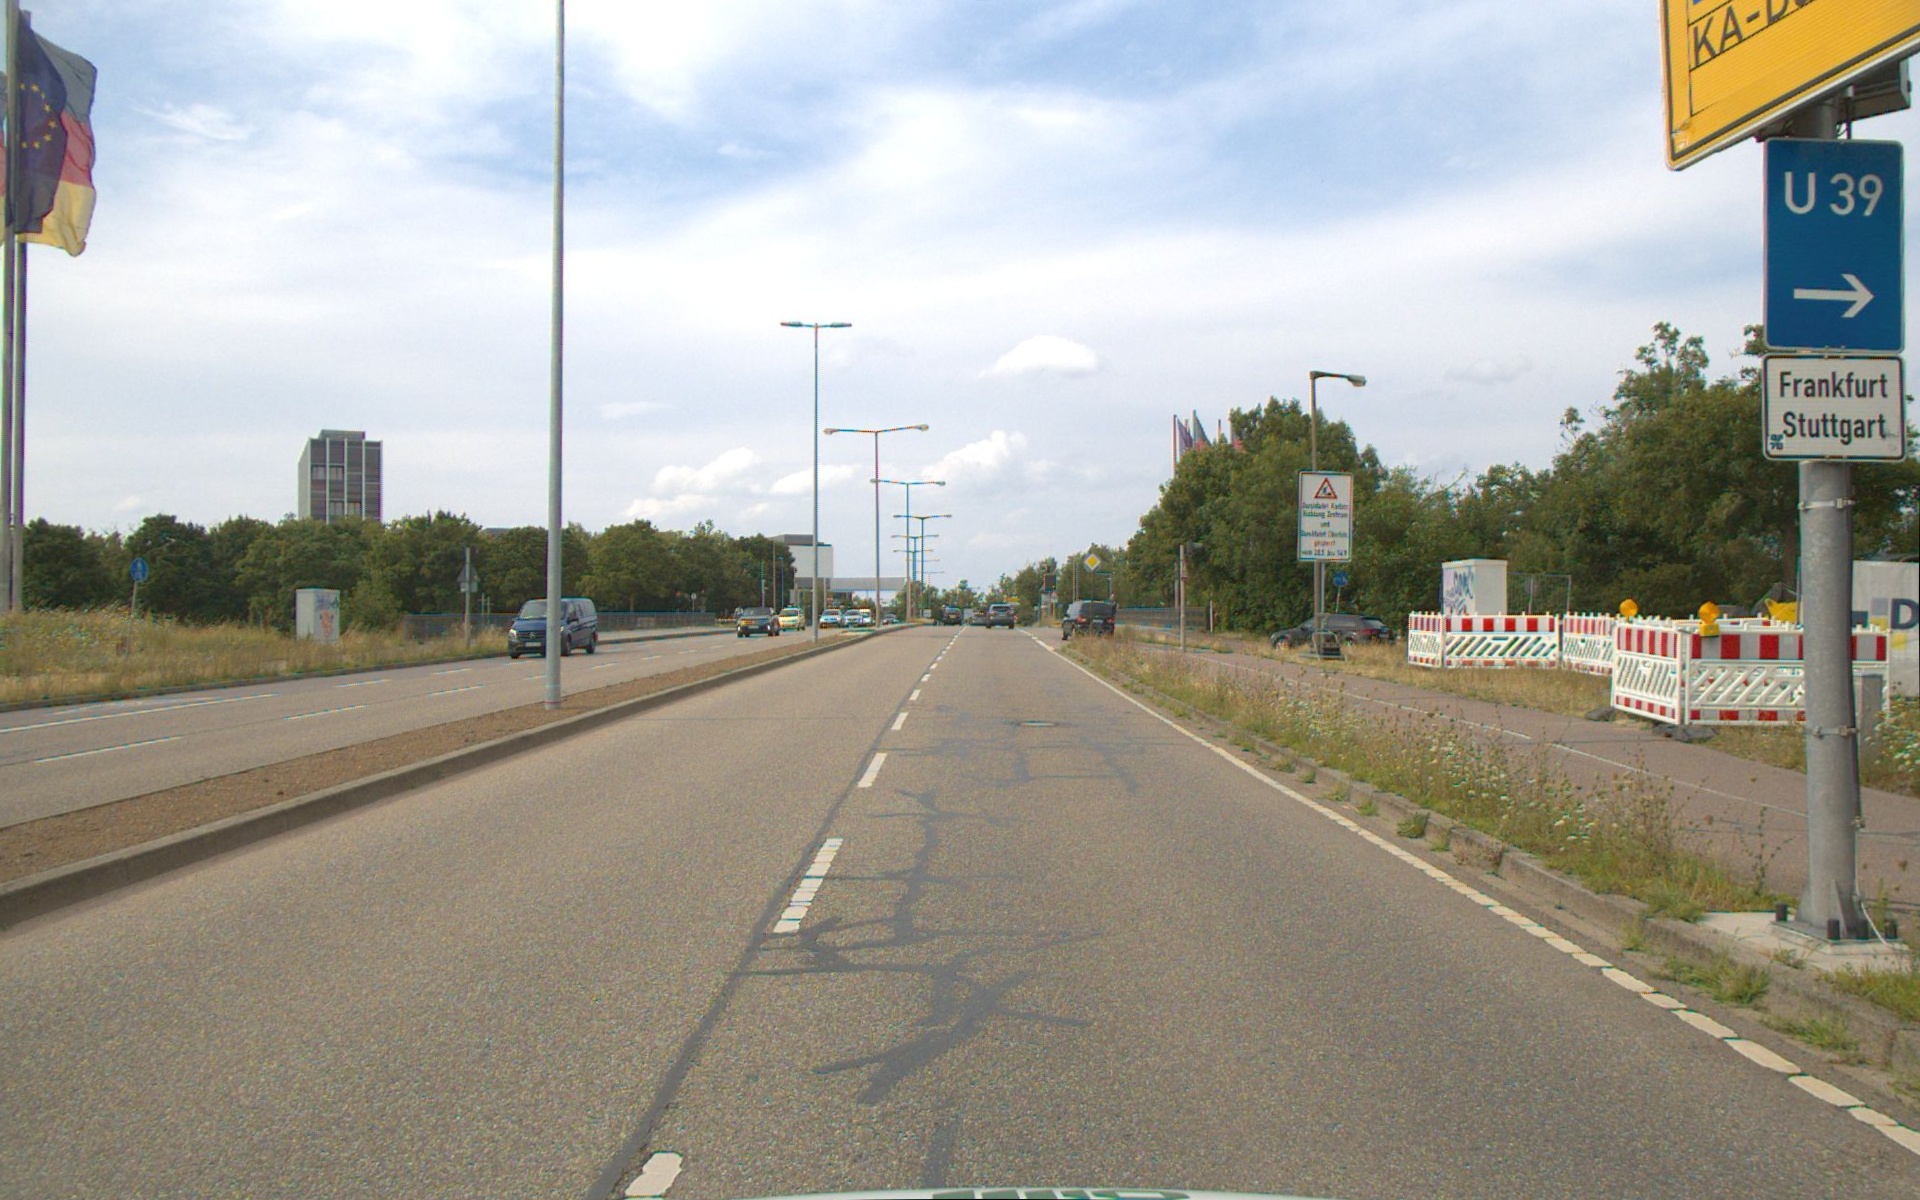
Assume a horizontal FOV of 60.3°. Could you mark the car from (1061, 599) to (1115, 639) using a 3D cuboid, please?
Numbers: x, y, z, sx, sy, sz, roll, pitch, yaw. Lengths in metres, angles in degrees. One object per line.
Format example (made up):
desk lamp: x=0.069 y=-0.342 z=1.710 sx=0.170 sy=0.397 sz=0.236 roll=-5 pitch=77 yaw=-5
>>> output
car: x=5.483 y=0.836 z=71.193 sx=1.696 sy=1.682 sz=4.111 roll=1 pitch=-1 yaw=-4

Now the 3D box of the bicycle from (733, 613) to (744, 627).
bicycle: x=-17.552 y=1.603 z=131.171 sx=0.692 sy=1.068 sz=2.059 roll=0 pitch=-1 yaw=-2

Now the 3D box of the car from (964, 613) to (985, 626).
car: x=1.679 y=2.257 z=192.069 sx=1.698 sy=1.553 sz=4.106 roll=1 pitch=-1 yaw=-9

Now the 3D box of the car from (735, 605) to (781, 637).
car: x=-10.100 y=1.029 z=83.084 sx=1.727 sy=1.466 sz=4.177 roll=-2 pitch=0 yaw=0

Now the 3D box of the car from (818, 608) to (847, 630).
car: x=-9.875 y=1.459 z=128.134 sx=1.615 sy=1.542 sz=4.018 roll=-2 pitch=0 yaw=4

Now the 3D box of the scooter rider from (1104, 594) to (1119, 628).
scooter rider: x=7.758 y=0.551 z=84.642 sx=0.576 sy=1.720 sz=0.742 roll=1 pitch=-1 yaw=-8

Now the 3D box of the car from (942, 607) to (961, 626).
car: x=-0.797 y=1.565 z=155.930 sx=1.695 sy=1.682 sz=4.115 roll=0 pitch=-1 yaw=1

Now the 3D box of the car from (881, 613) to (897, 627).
car: x=-8.701 y=2.477 z=204.259 sx=1.703 sy=1.506 sz=4.775 roll=-2 pitch=-1 yaw=0

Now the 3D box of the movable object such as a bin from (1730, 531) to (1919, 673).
movable object such as a bin: x=18.189 y=0.053 z=33.297 sx=4.406 sy=2.736 sz=2.103 roll=1 pitch=-1 yaw=5

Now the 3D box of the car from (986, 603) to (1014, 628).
car: x=2.668 y=1.053 z=110.881 sx=1.695 sy=1.682 sz=4.114 roll=0 pitch=-1 yaw=-1

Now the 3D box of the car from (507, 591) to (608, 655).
car: x=-13.307 y=0.724 z=55.045 sx=1.809 sy=1.926 sz=5.506 roll=-3 pitch=0 yaw=1

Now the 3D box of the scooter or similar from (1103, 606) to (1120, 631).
scooter or similar: x=7.750 y=0.935 z=84.647 sx=0.577 sy=1.246 sz=1.200 roll=1 pitch=-1 yaw=-7

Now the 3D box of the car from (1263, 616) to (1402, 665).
car: x=11.825 y=1.261 z=52.710 sx=4.045 sy=1.419 sz=1.724 roll=0 pitch=1 yaw=44

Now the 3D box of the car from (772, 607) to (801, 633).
car: x=-11.777 y=1.350 z=112.408 sx=1.517 sy=1.605 sz=3.690 roll=-2 pitch=0 yaw=0

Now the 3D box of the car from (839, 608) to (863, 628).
car: x=-10.494 y=1.725 z=158.824 sx=1.824 sy=1.755 sz=4.771 roll=-2 pitch=-1 yaw=1
